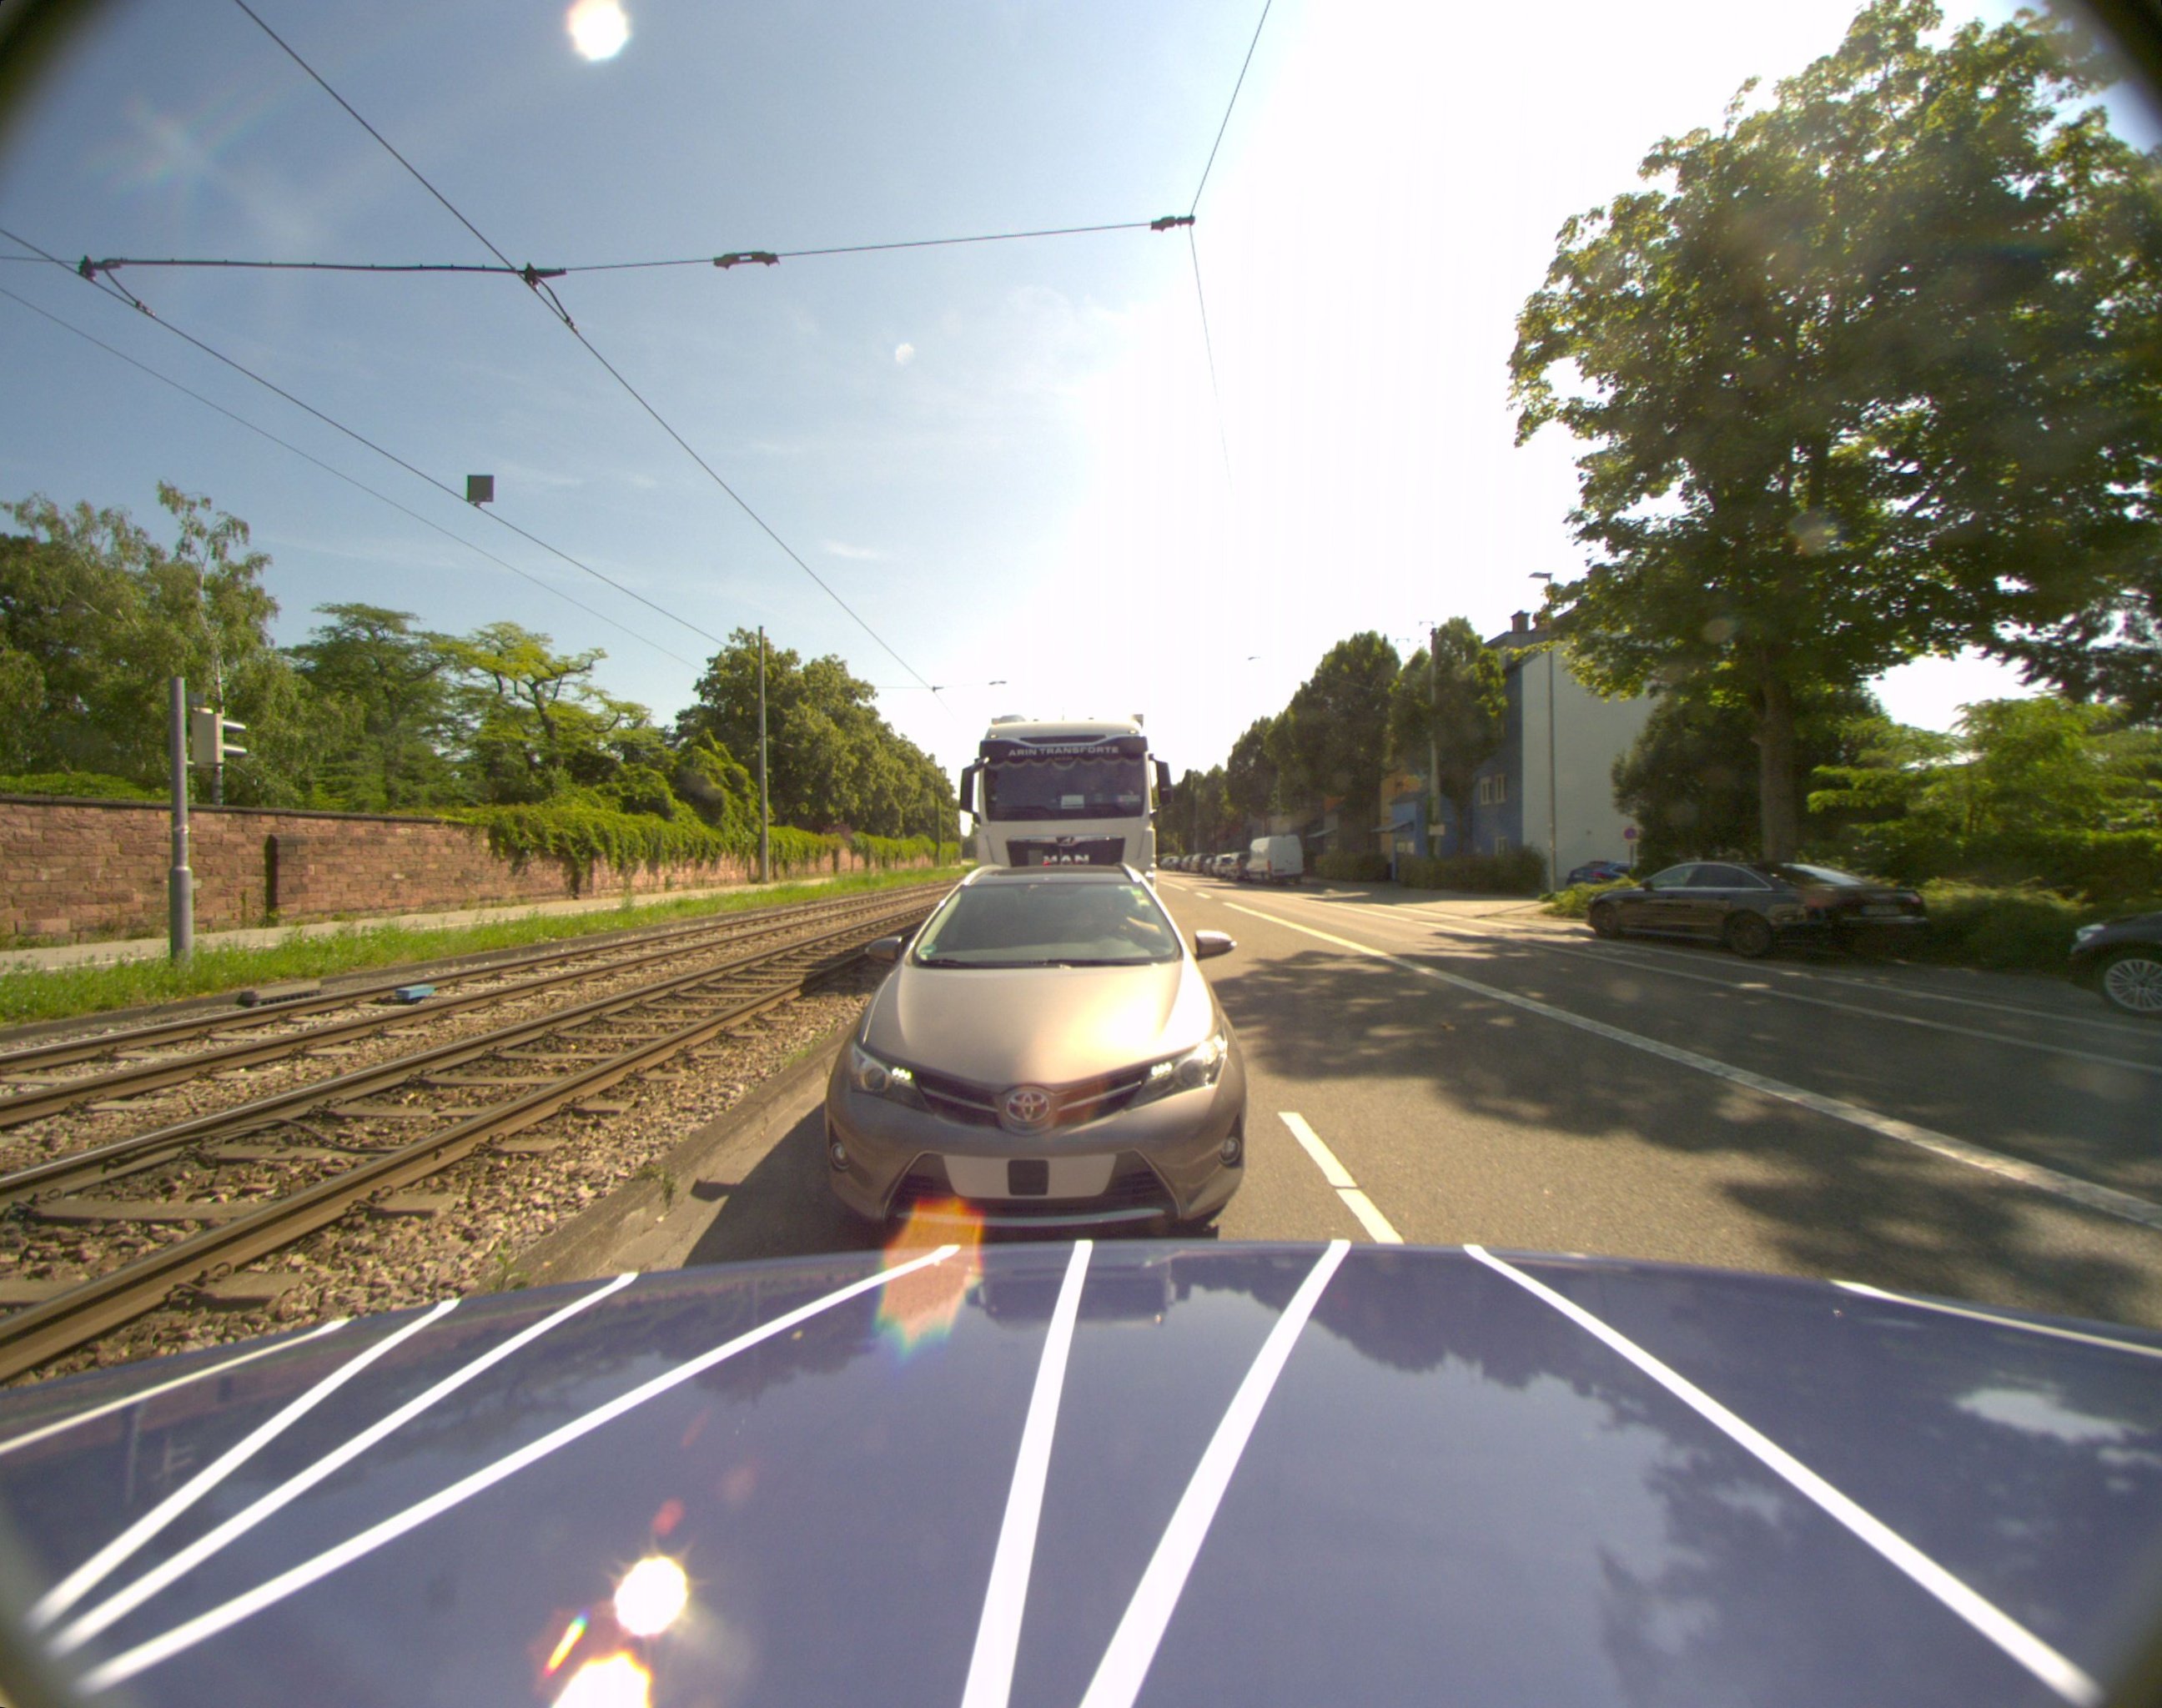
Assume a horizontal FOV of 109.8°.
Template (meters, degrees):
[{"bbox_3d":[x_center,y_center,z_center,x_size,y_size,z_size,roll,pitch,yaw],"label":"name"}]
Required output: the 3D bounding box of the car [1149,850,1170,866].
[{"bbox_3d":[9.924,0.449,96.874,1.998,1.795,4.769,-6,0,0],"label":"car"}]

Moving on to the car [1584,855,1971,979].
[{"bbox_3d":[10.561,0.822,12.152,1.868,1.562,4.621,-1,0,-2],"label":"car"}]

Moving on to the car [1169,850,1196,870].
[{"bbox_3d":[10.572,0.639,79.159,1.998,1.795,4.769,-6,0,0],"label":"car"}]

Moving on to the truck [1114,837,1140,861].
[{"bbox_3d":[6.985,-0.665,116.099,2.704,3.263,6.724,-6,0,-5],"label":"truck"}]

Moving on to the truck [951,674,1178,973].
[{"bbox_3d":[-0.118,-0.406,17.276,2.935,3.856,14.913,0,0,1],"label":"truck"}]

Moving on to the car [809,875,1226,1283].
[{"bbox_3d":[-0.214,0.908,4.873,1.573,1.422,4.000,0,0,1],"label":"car"}]

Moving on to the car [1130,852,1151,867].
[{"bbox_3d":[8.279,0.805,105.562,1.999,1.795,5.111,-6,0,-4],"label":"car"}]

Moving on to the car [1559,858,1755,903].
[{"bbox_3d":[19.288,0.874,25.631,5.070,1.422,1.891,0,0,4],"label":"car"}]

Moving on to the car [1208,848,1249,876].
[{"bbox_3d":[11.081,0.581,57.372,1.998,1.795,4.769,-6,0,0],"label":"car"}]

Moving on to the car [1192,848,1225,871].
[{"bbox_3d":[11.289,0.493,67.666,1.998,1.795,4.769,-6,0,0],"label":"car"}]

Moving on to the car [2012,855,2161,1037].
[{"bbox_3d":[10.585,0.822,5.562,1.868,1.562,4.621,-2,0,0],"label":"car"}]

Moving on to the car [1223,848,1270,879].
[{"bbox_3d":[11.139,0.637,51.439,1.998,1.795,4.769,-6,0,0],"label":"car"}]

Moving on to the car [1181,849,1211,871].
[{"bbox_3d":[11.022,0.563,73.370,1.998,1.795,4.769,-6,0,0],"label":"car"}]

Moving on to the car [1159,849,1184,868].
[{"bbox_3d":[10.180,0.490,85.903,1.998,1.795,4.769,-6,0,0],"label":"car"}]

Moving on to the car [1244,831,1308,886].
[{"bbox_3d":[10.944,0.248,43.142,1.998,2.678,6.214,-6,0,2],"label":"car"}]

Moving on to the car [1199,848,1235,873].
[{"bbox_3d":[11.222,0.536,62.855,1.998,1.795,4.256,-6,0,0],"label":"car"}]
